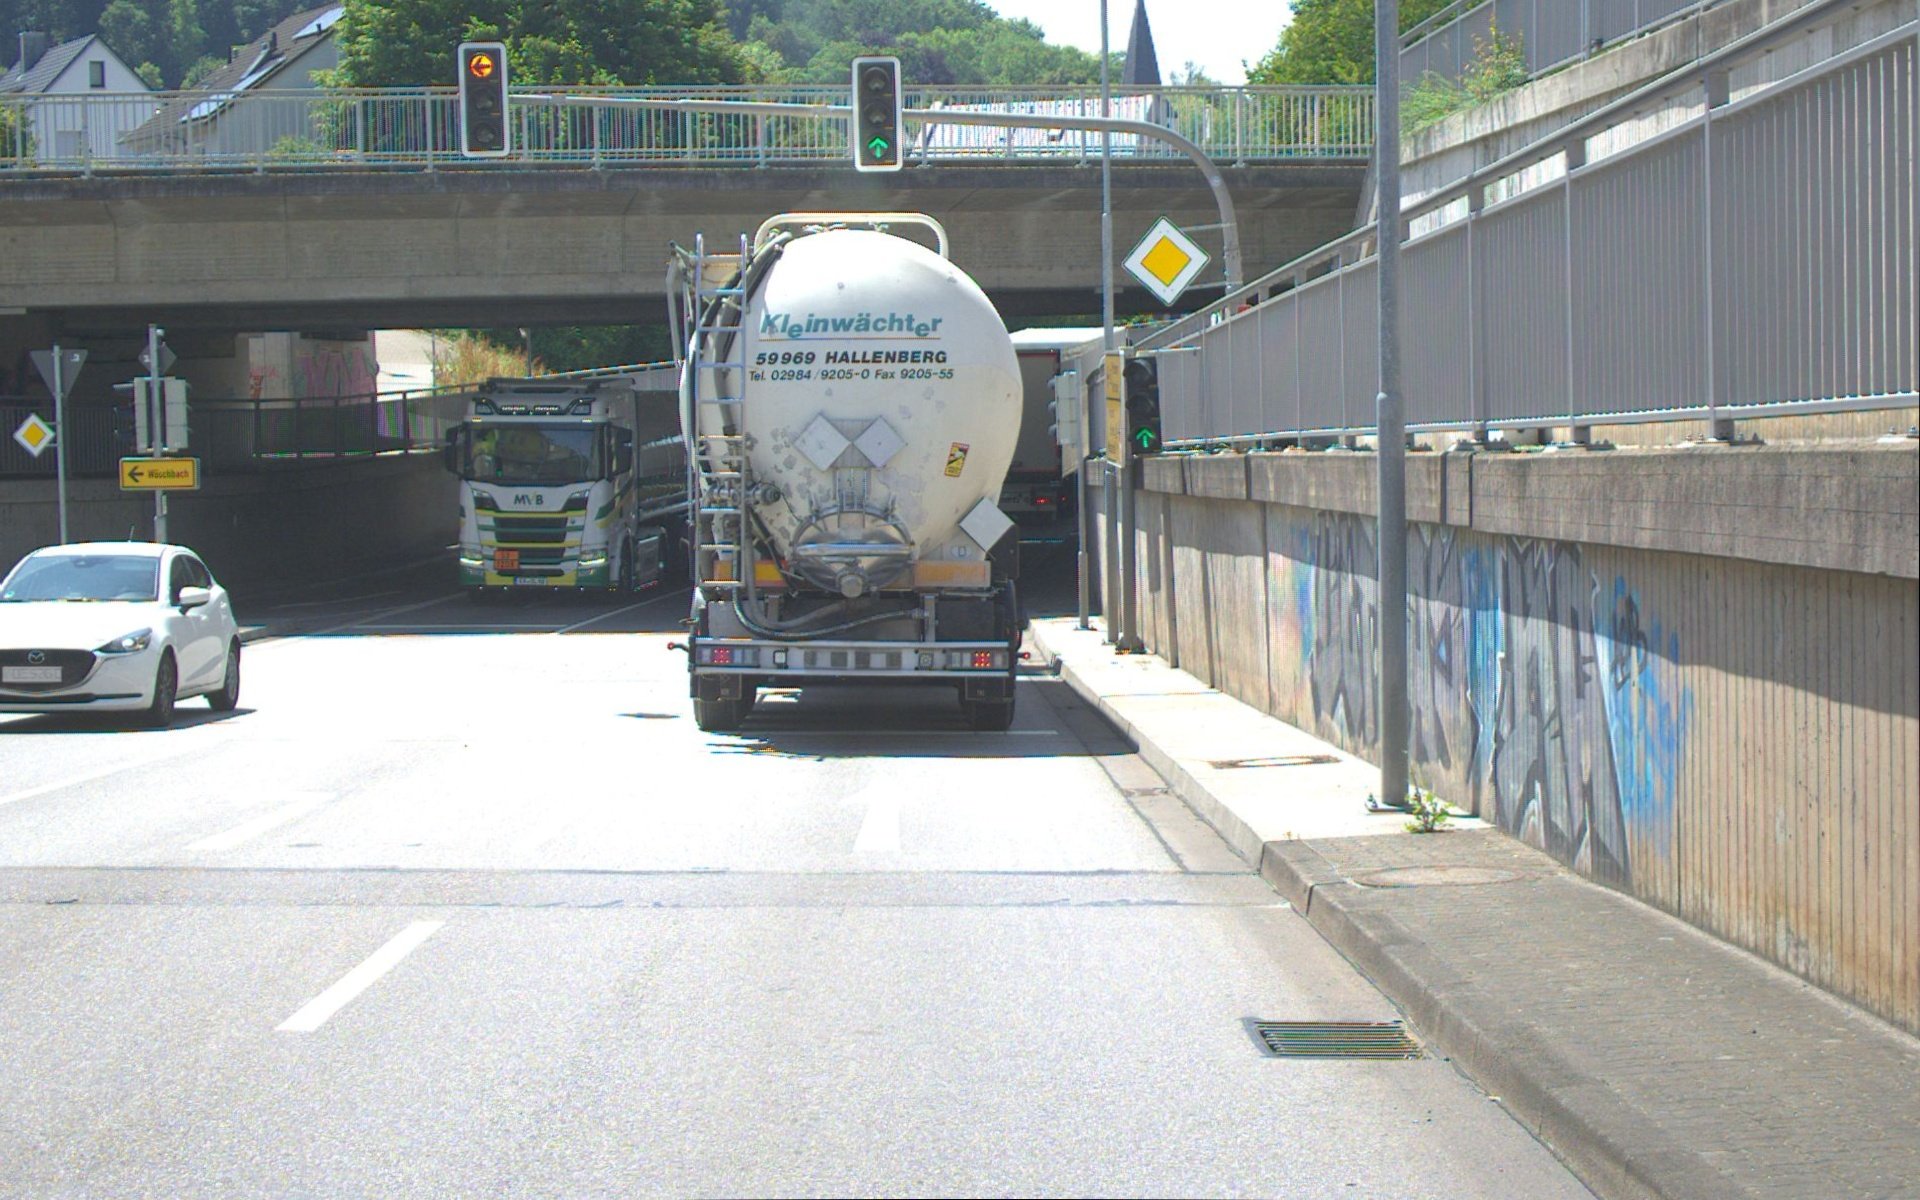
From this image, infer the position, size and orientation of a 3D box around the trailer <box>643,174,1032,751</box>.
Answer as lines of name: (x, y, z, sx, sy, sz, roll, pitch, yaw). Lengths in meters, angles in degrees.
trailer: (-0.787, -1.106, 30.813, 2.735, 4.050, 13.313, 0, 1, 1)

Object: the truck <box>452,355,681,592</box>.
truck: (-6.438, -2.063, 57.226, 2.689, 3.650, 7.369, 1, 1, 2)

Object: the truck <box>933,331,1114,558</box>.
truck: (1.614, -3.685, 80.984, 3.082, 4.982, 10.081, 1, 3, 7)

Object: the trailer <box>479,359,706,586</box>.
trailer: (-6.355, -2.193, 60.921, 2.689, 3.650, 9.889, 1, 1, 1)

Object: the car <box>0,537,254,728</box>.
car: (-7.130, 0.215, 28.513, 1.682, 1.435, 4.094, -1, 1, 0)
